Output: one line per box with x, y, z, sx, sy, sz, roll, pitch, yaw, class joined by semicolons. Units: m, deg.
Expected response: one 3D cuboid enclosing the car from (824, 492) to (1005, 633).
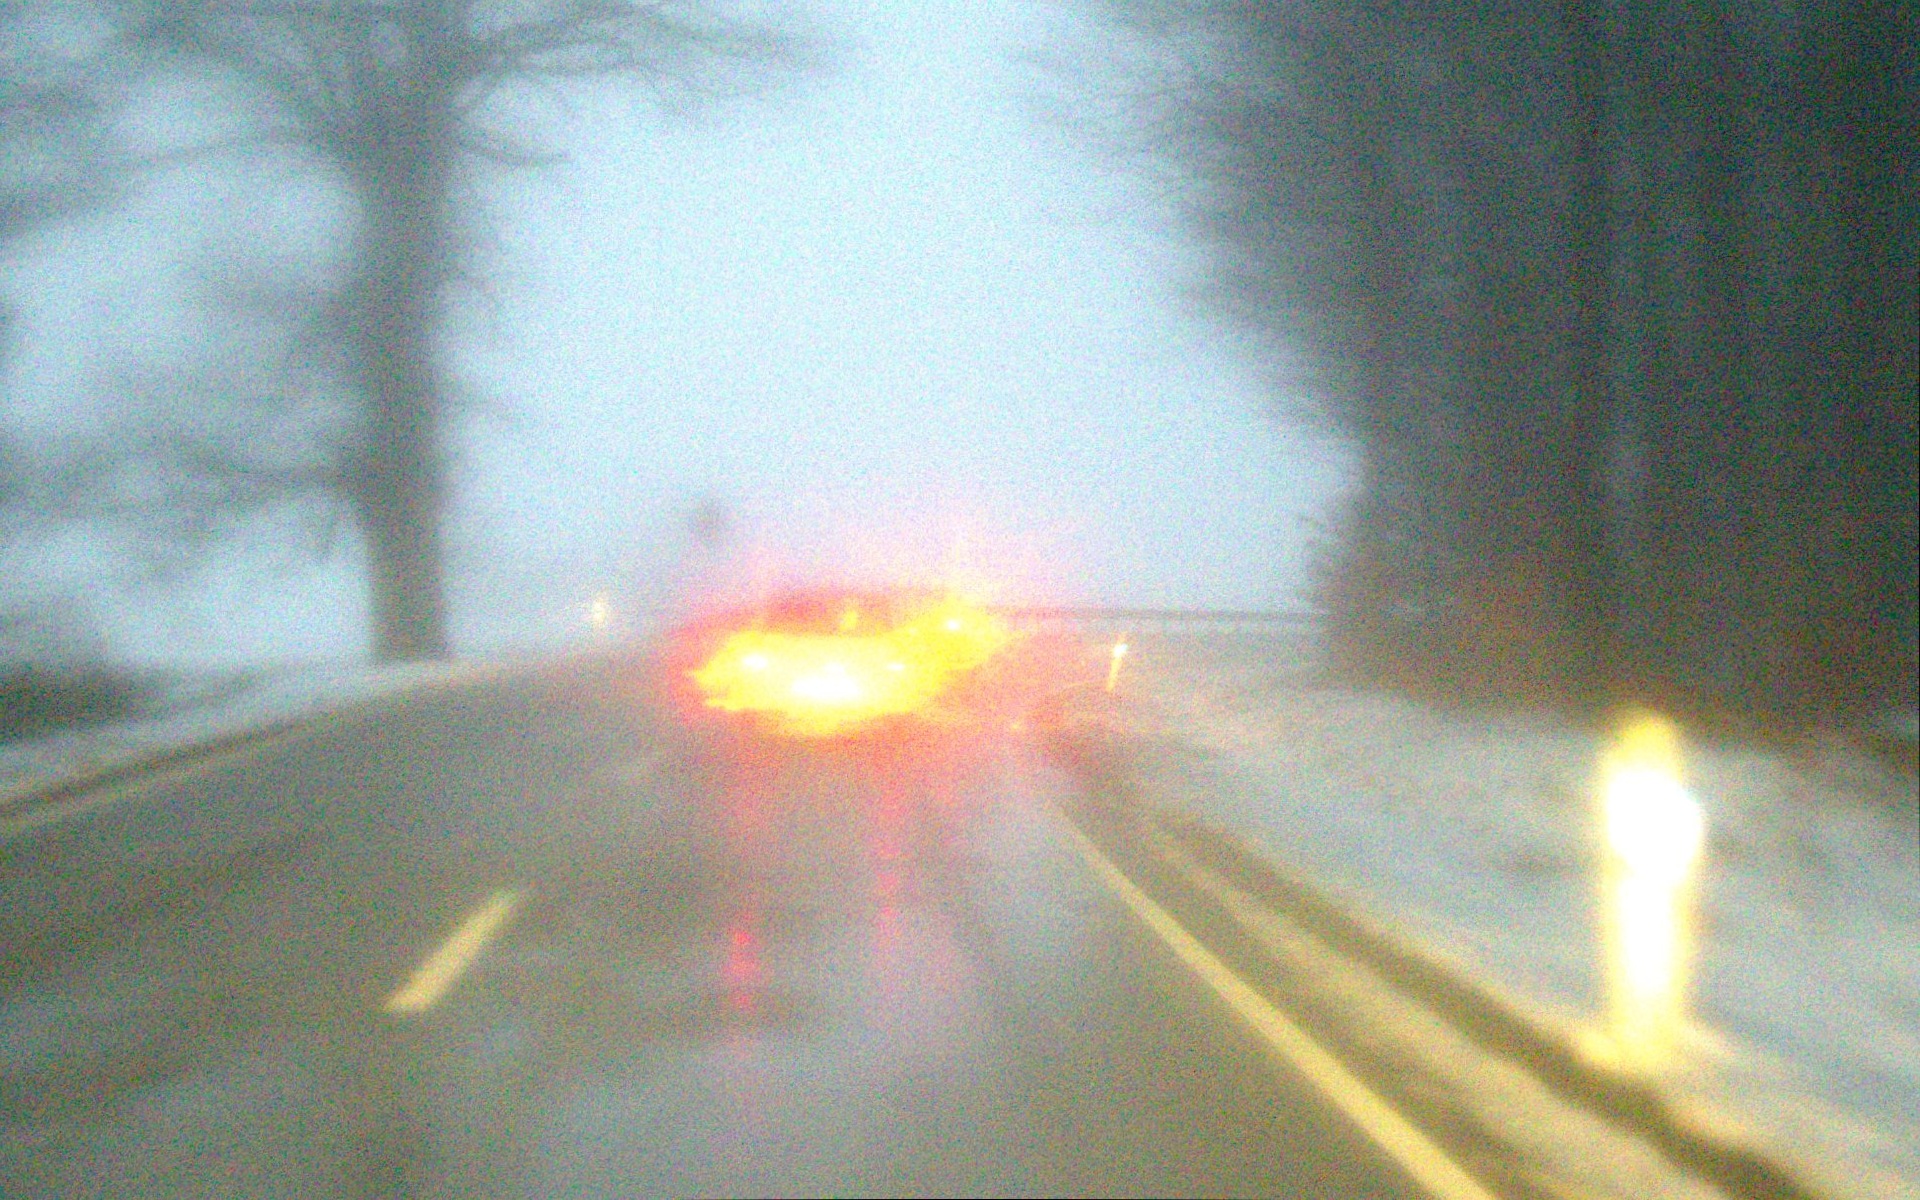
-0.681;-0.542;47.575;1.993;1.777;4.001;3;1;-7;car

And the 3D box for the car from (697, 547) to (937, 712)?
-1.407;0.230;32.229;1.945;1.376;4.001;1;1;-6;car
